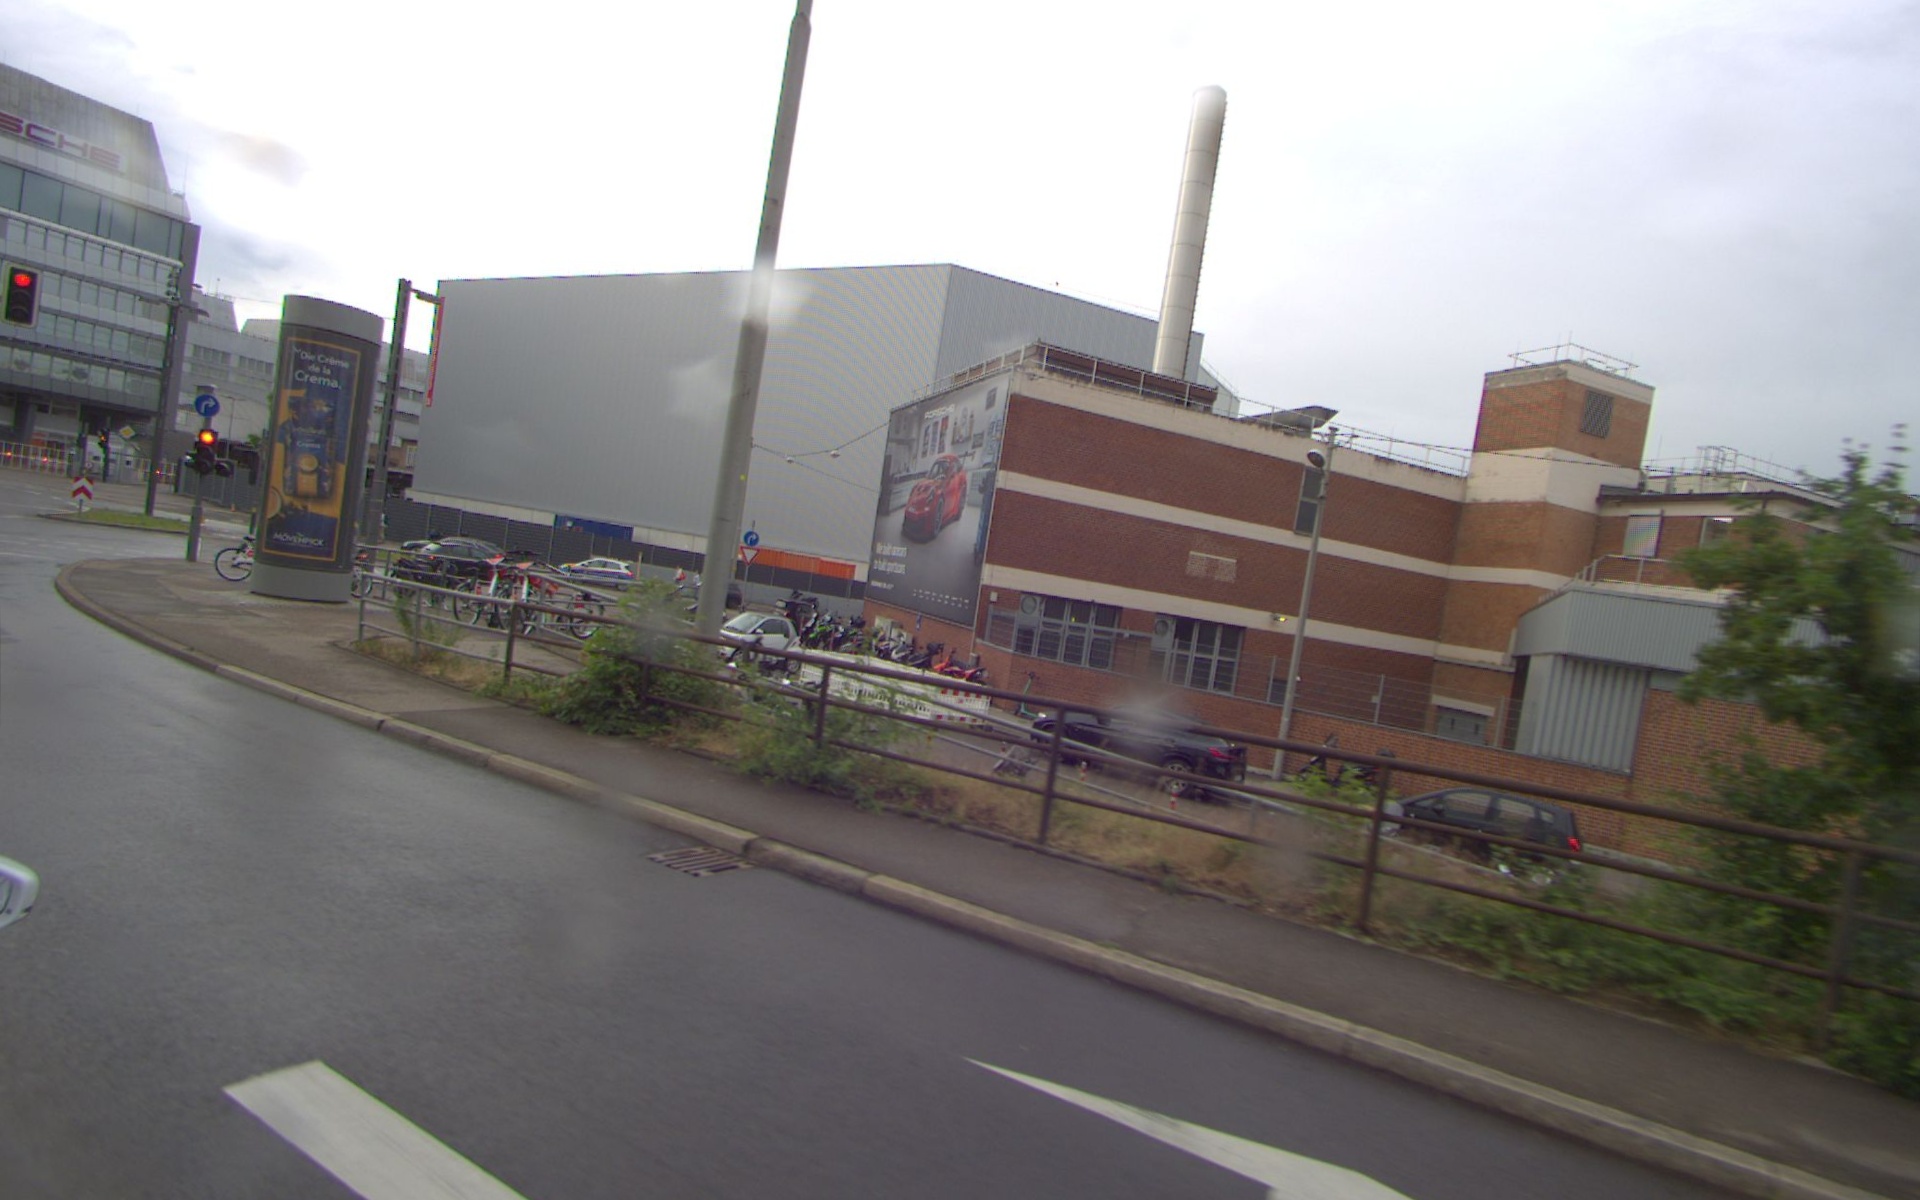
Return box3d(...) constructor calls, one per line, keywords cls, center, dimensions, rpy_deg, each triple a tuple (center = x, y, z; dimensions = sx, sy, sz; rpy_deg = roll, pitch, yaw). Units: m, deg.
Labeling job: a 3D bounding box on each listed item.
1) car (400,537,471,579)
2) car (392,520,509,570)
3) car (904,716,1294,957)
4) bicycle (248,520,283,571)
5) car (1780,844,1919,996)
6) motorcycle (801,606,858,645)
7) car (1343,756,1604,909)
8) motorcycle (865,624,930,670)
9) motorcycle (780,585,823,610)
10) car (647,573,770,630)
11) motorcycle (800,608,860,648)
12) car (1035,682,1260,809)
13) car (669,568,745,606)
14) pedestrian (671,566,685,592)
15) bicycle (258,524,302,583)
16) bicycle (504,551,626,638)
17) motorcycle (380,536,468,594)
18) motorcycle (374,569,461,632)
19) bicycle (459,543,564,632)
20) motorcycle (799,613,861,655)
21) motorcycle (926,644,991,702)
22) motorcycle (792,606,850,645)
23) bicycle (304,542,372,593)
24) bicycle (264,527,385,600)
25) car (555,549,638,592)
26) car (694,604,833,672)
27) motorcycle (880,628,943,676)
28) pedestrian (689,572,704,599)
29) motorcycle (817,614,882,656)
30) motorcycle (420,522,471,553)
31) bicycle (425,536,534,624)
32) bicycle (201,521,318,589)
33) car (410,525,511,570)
box3d(cls="car", center=(-20.801, -1.688, 39.814), dimensions=(1.604, 1.307, 3.524), rpy_deg=(7, 0, -41))
box3d(cls="car", center=(-24.152, -2.584, 47.854), dimensions=(4.519, 1.558, 1.750), rpy_deg=(10, 1, -17))
box3d(cls="car", center=(1.499, 2.435, 11.224), dimensions=(3.792, 1.574, 1.701), rpy_deg=(8, 0, 31))
box3d(cls="bicycle", center=(-16.681, -1.316, 24.172), dimensions=(0.382, 1.133, 1.738), rpy_deg=(7, 1, -28))
box3d(cls="car", center=(14.854, 4.965, 14.476), dimensions=(4.355, 1.651, 1.635), rpy_deg=(8, 0, 31))
box3d(cls="motorcycle", center=(-5.045, 0.994, 38.890), dimensions=(1.984, 1.206, 0.609), rpy_deg=(8, 4, 7))
box3d(cls="car", center=(9.187, 4.056, 18.145), dimensions=(3.865, 1.648, 1.700), rpy_deg=(8, 0, 31))
box3d(cls="motorcycle", center=(-1.999, 1.508, 32.242), dimensions=(2.009, 1.327, 0.679), rpy_deg=(4, 5, -45))
box3d(cls="motorcycle", center=(-10.033, -0.155, 63.694), dimensions=(2.461, 1.201, 0.994), rpy_deg=(8, 0, -22))
box3d(cls="car", center=(-9.765, 0.069, 39.182), dimensions=(4.087, 1.548, 1.838), rpy_deg=(8, -1, 8))
box3d(cls="motorcycle", center=(-4.733, 1.027, 36.680), dimensions=(1.992, 1.206, 0.607), rpy_deg=(7, 4, -17))
box3d(cls="car", center=(3.940, 3.008, 21.381), dimensions=(4.191, 1.628, 1.701), rpy_deg=(11, 0, 31))
box3d(cls="car", center=(-14.119, -0.708, 56.083), dimensions=(3.943, 1.409, 1.750), rpy_deg=(10, 1, -17))
box3d(cls="pedestrian", center=(-16.920, -1.271, 60.372), dimensions=(0.603, 1.499, 0.423), rpy_deg=(8, 1, -11))
box3d(cls="bicycle", center=(-14.889, -1.034, 22.009), dimensions=(0.384, 1.176, 1.976), rpy_deg=(6, 0, -44))
box3d(cls="bicycle", center=(-6.042, -0.053, 15.502), dimensions=(0.588, 1.193, 1.932), rpy_deg=(7, 1, 16))
box3d(cls="motorcycle", center=(-16.672, -1.083, 31.312), dimensions=(2.216, 1.470, 0.749), rpy_deg=(8, 1, -36))
box3d(cls="motorcycle", center=(-10.846, 0.004, 20.108), dimensions=(1.722, 1.002, 0.697), rpy_deg=(9, 1, 33))
box3d(cls="bicycle", center=(-6.926, -0.185, 15.646), dimensions=(0.588, 1.239, 1.932), rpy_deg=(7, 1, 2))
box3d(cls="motorcycle", center=(-4.578, 1.188, 35.426), dimensions=(1.992, 1.206, 0.607), rpy_deg=(7, 4, -17))
box3d(cls="motorcycle", center=(-0.063, 2.085, 28.989), dimensions=(0.919, 1.327, 1.968), rpy_deg=(5, 4, -30))
box3d(cls="motorcycle", center=(-5.220, 0.955, 37.780), dimensions=(1.991, 1.206, 0.607), rpy_deg=(7, 4, -15))
box3d(cls="bicycle", center=(-13.959, -0.735, 22.556), dimensions=(2.145, 0.916, 0.691), rpy_deg=(7, 0, 43))
box3d(cls="bicycle", center=(-12.171, -0.679, 19.329), dimensions=(0.582, 1.176, 1.800), rpy_deg=(7, 1, 34))
box3d(cls="car", center=(-19.529, -1.597, 54.255), dimensions=(3.924, 1.620, 1.904), rpy_deg=(10, 0, -17))
box3d(cls="car", center=(-5.685, 1.131, 29.379), dimensions=(1.670, 1.500, 3.543), rpy_deg=(12, 3, 43))
box3d(cls="motorcycle", center=(-1.478, 1.614, 31.020), dimensions=(1.857, 1.327, 0.566), rpy_deg=(5, 5, -41))
box3d(cls="pedestrian", center=(-15.751, -0.877, 60.186), dimensions=(0.640, 1.499, 0.438), rpy_deg=(8, 1, -14))
box3d(cls="motorcycle", center=(-3.797, 1.206, 34.627), dimensions=(1.998, 1.206, 0.605), rpy_deg=(6, 4, -27))
box3d(cls="motorcycle", center=(-28.950, -3.518, 56.631), dimensions=(2.326, 1.361, 0.650), rpy_deg=(8, 1, -19))
box3d(cls="bicycle", center=(-7.576, -0.295, 15.955), dimensions=(0.588, 1.239, 1.932), rpy_deg=(7, 1, 3))
box3d(cls="bicycle", center=(-14.314, -0.908, 20.600), dimensions=(0.668, 1.154, 1.769), rpy_deg=(7, 0, 38))
box3d(cls="car", center=(-25.522, -2.681, 51.590), dimensions=(4.238, 1.558, 1.750), rpy_deg=(10, 1, -17))
